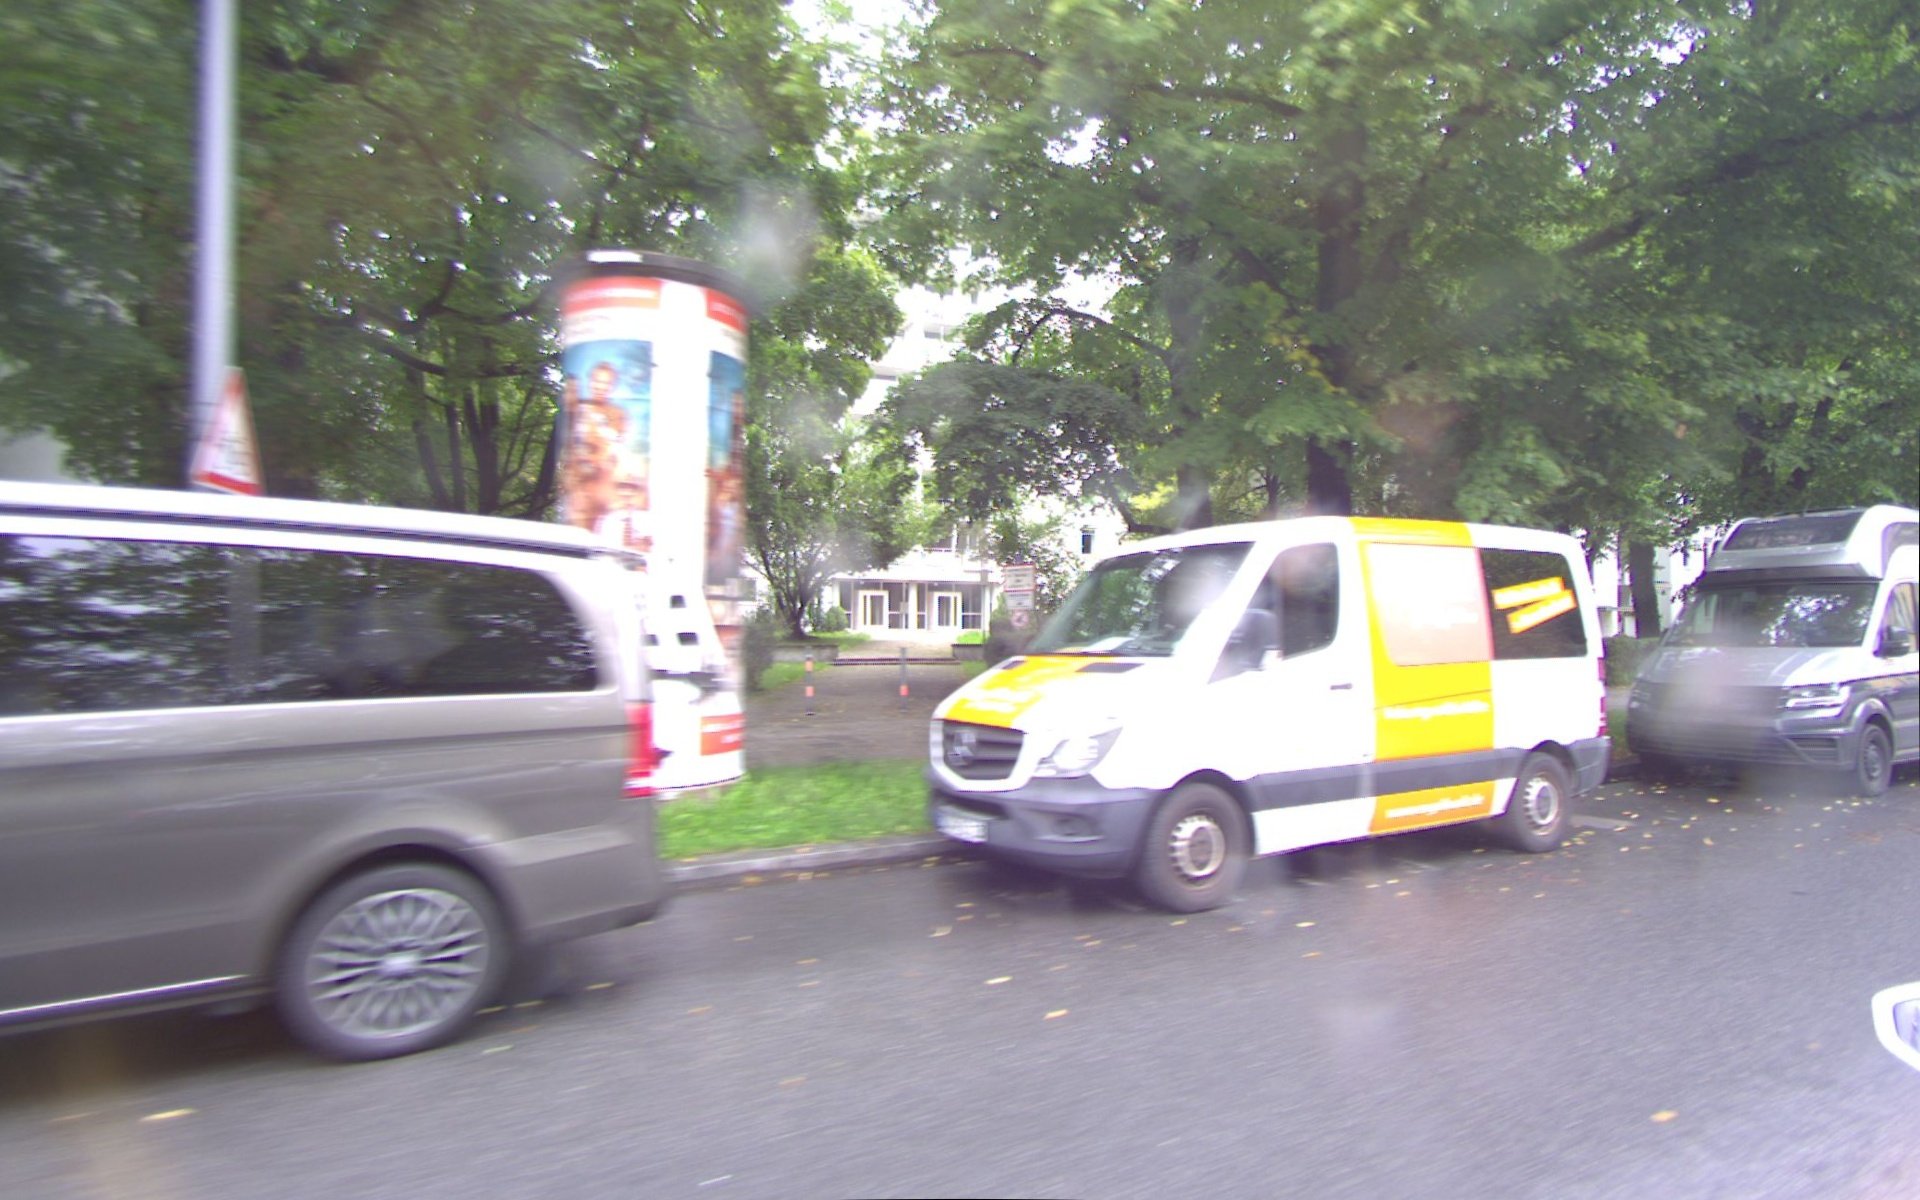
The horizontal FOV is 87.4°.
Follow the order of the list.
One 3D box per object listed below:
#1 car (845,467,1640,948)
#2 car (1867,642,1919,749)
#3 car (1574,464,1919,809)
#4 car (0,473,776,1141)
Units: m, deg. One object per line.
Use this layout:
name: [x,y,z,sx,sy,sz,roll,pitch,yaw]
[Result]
car: [2.142,0.612,7.073,5.534,2.294,2.075,1,-3,-29]
car: [14.830,1.329,14.226,3.956,1.439,1.983,1,-1,-32]
car: [9.768,0.410,11.375,6.160,3.042,2.162,1,-2,-30]
car: [-3.665,0.627,3.571,5.602,1.933,2.016,1,-3,-31]
